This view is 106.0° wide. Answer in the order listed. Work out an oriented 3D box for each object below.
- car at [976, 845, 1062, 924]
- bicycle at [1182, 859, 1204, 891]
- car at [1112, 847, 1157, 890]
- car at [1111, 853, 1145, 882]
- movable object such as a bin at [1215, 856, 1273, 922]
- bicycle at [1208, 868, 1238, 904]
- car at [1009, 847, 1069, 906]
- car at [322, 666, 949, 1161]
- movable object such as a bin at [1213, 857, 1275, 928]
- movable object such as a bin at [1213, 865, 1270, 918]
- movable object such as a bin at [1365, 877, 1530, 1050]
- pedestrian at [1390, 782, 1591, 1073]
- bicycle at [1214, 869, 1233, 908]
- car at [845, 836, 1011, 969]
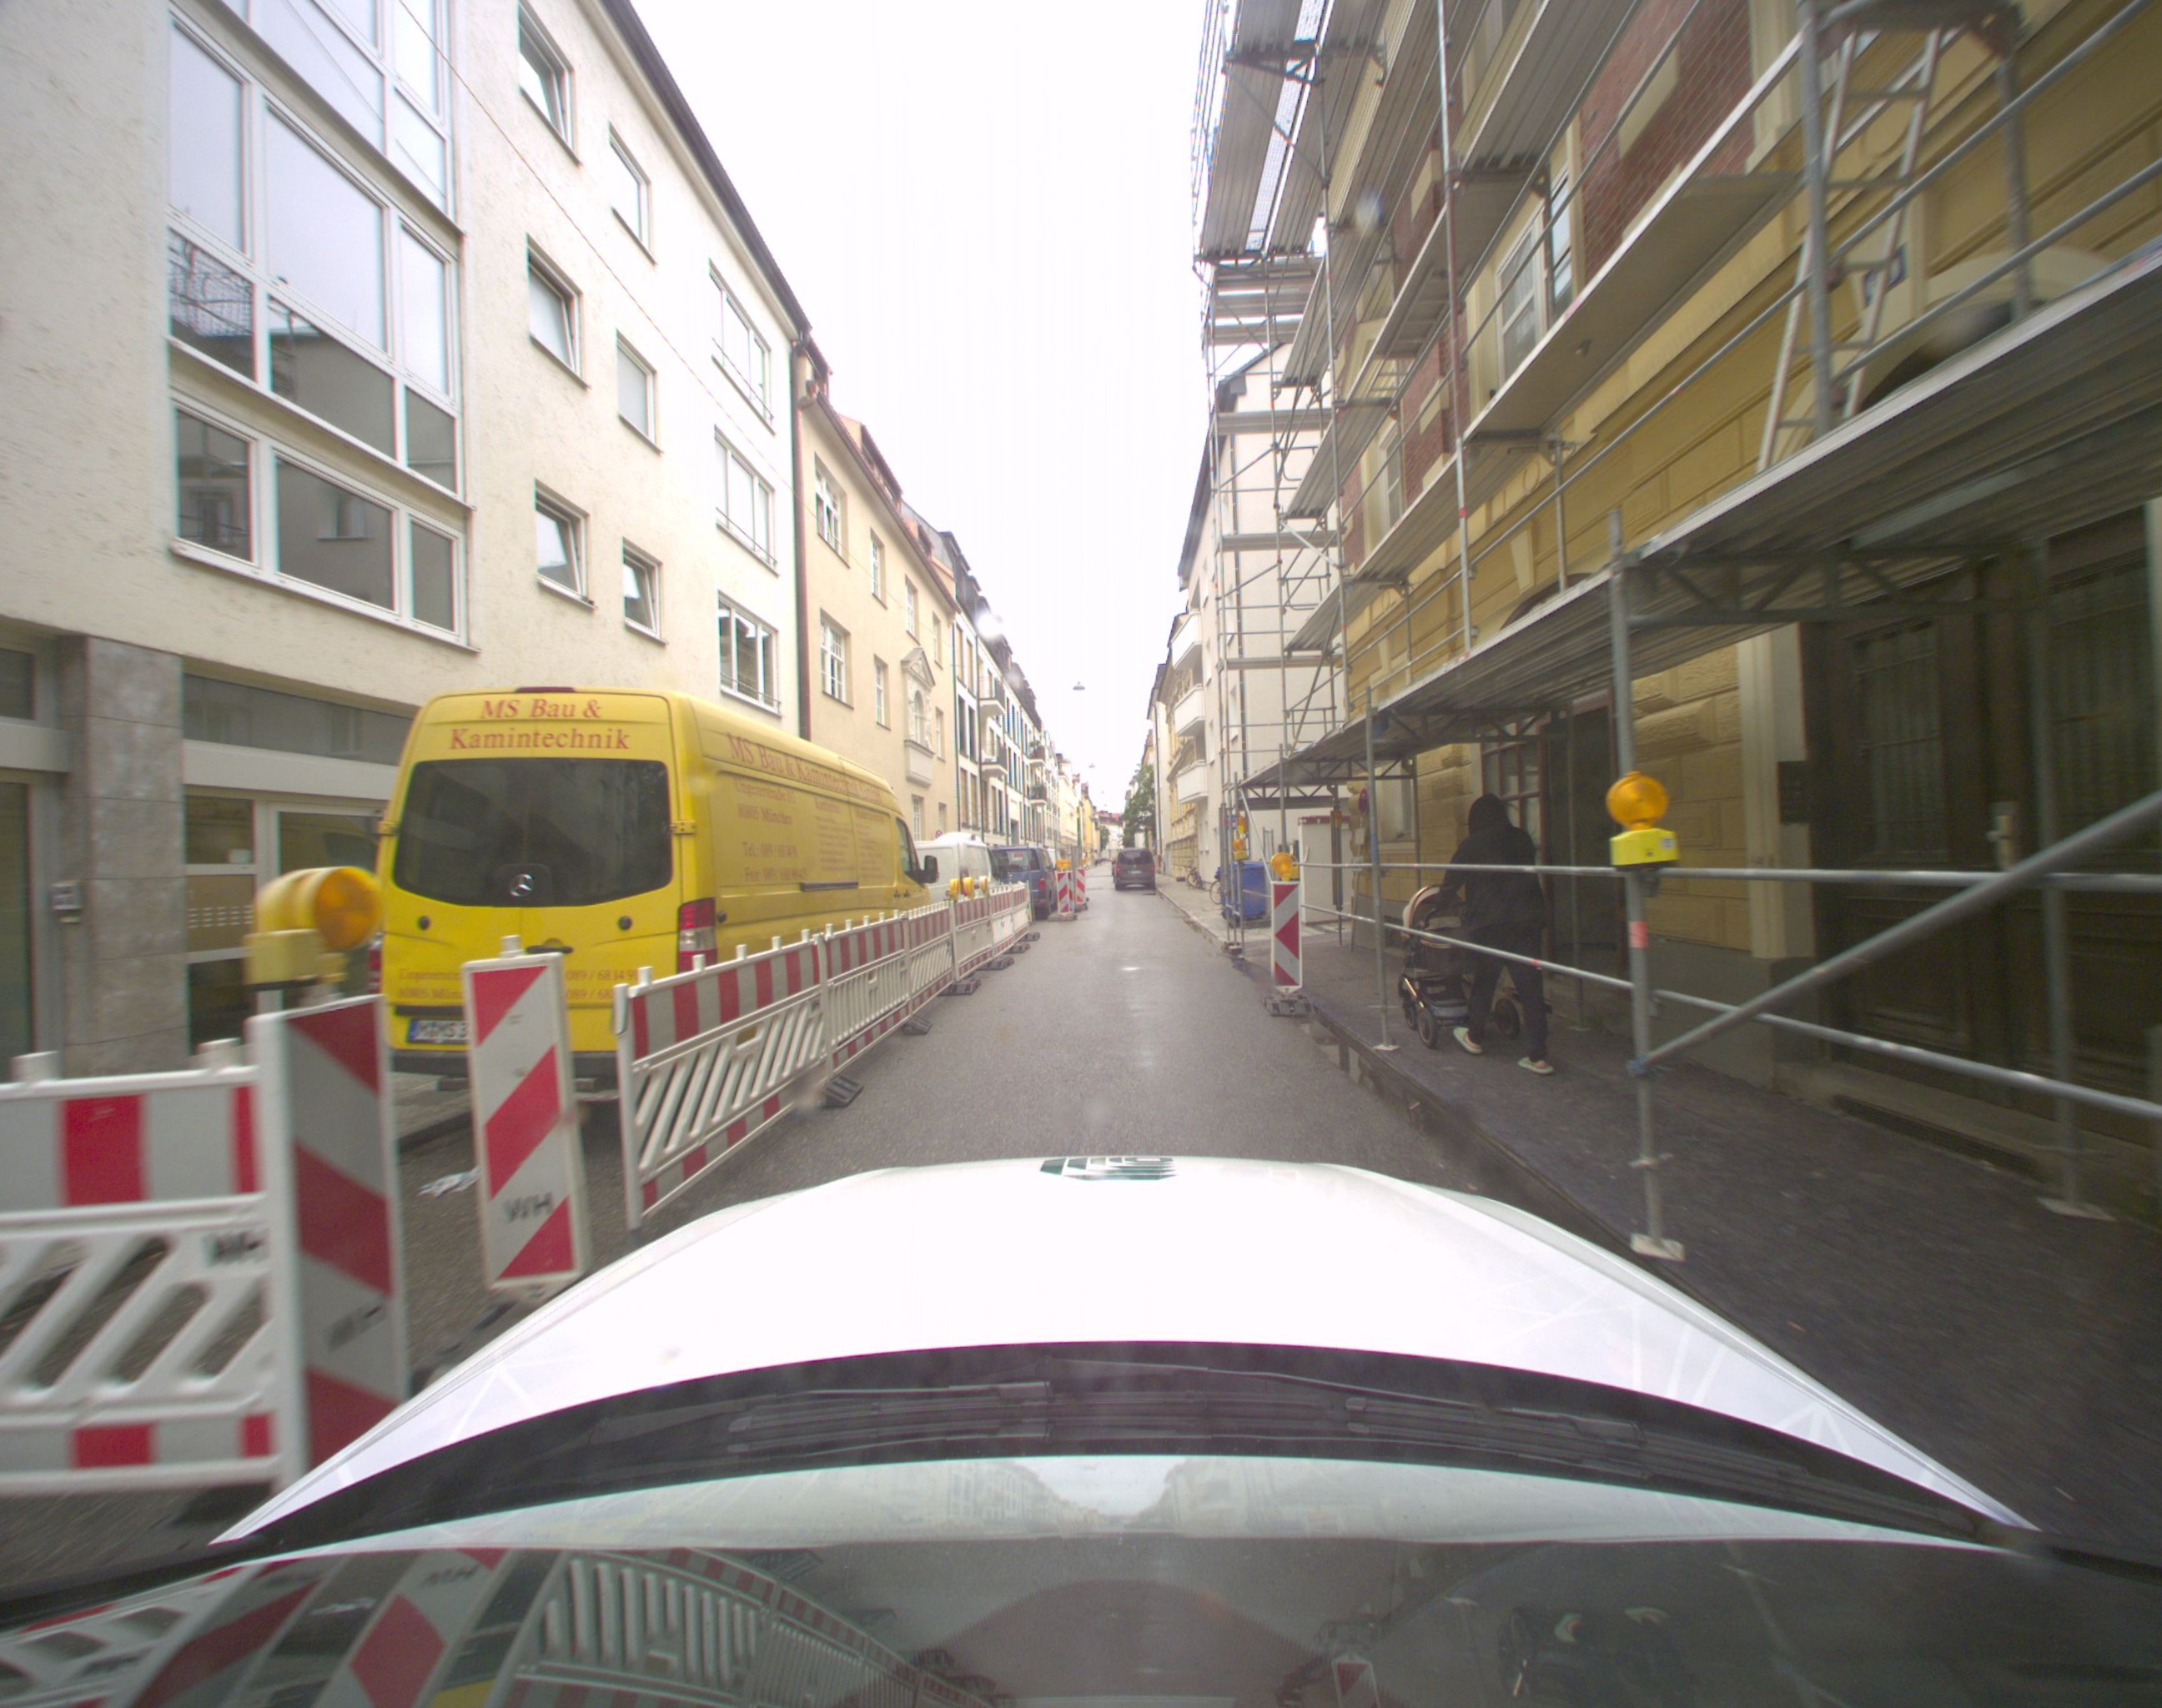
[{"bbox_3d":[-1.647,0.799,23.412,1.720,1.897,5.511,-4,-1,2],"label":"car"},{"bbox_3d":[4.484,0.819,32.685,0.635,1.153,1.917,-5,0,3],"label":"bicycle"},{"bbox_3d":[2.519,0.688,39.555,1.986,1.932,4.661,-1,0,2],"label":"car"},{"bbox_3d":[2.822,0.800,49.668,1.887,1.641,4.323,-2,0,2],"label":"car"},{"bbox_3d":[3.666,0.770,18.420,1.119,1.345,1.174,-6,-1,10],"label":"movable object such as a bin"},{"bbox_3d":[4.117,0.918,23.686,0.403,0.991,1.326,-5,-1,-6],"label":"bicycle"},{"bbox_3d":[-1.422,0.767,29.513,1.899,1.897,5.086,-2,-1,-1],"label":"car"},{"bbox_3d":[-2.958,0.342,7.753,1.986,2.579,6.739,-3,0,2],"label":"car"},{"bbox_3d":[3.455,0.785,17.187,1.078,1.346,1.323,-5,-1,14],"label":"movable object such as a bin"},{"bbox_3d":[3.806,0.883,19.366,1.203,1.095,0.791,-6,-1,10],"label":"movable object such as a bin"},{"bbox_3d":[2.795,0.798,6.322,0.727,1.141,0.988,-6,-1,1],"label":"movable object such as a bin"},{"bbox_3d":[2.743,0.461,5.579,0.727,1.752,0.988,-6,-1,1],"label":"pedestrian"},{"bbox_3d":[3.925,0.932,22.350,0.278,0.991,1.439,-6,-1,15],"label":"bicycle"},{"bbox_3d":[-2.553,0.761,14.838,1.910,1.897,4.791,-4,-1,1],"label":"car"}]
